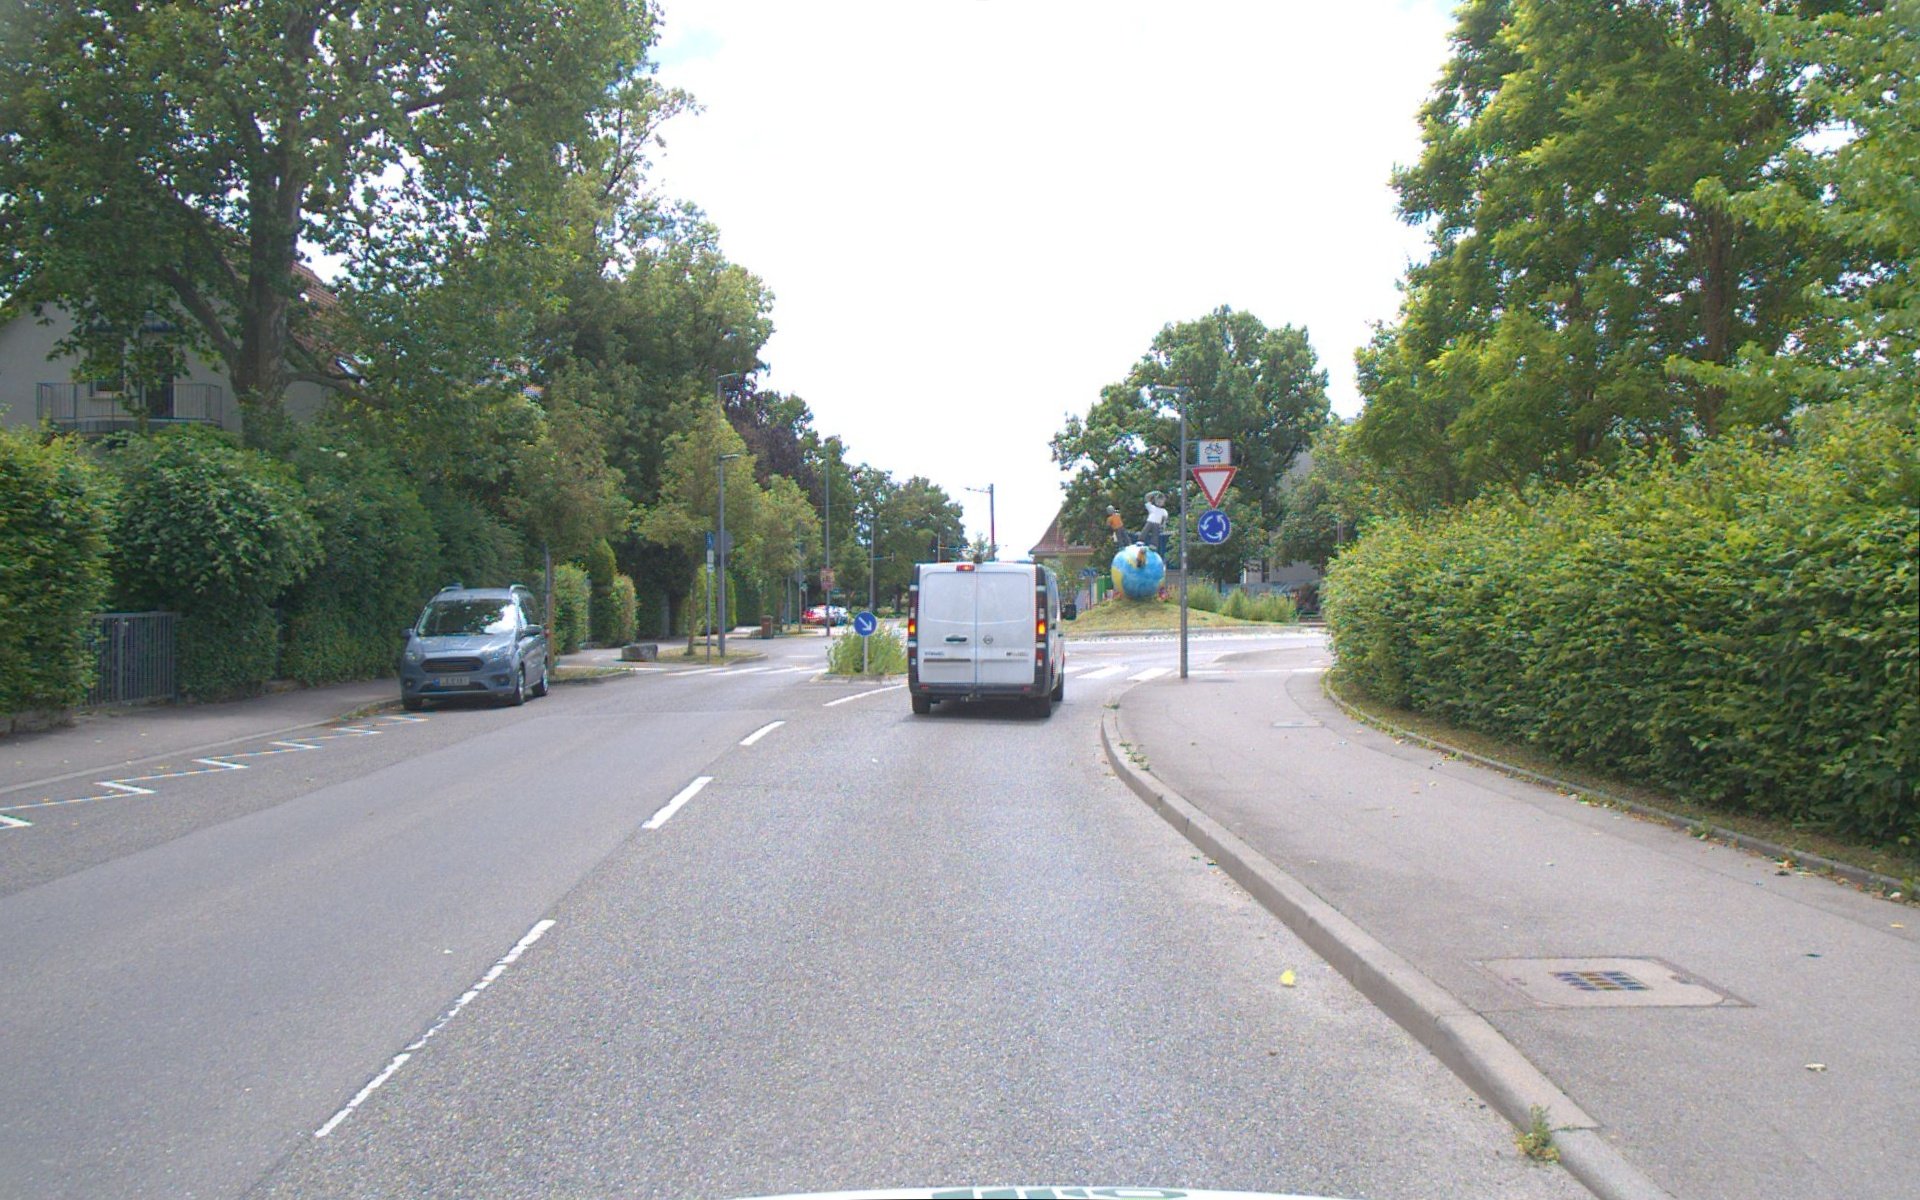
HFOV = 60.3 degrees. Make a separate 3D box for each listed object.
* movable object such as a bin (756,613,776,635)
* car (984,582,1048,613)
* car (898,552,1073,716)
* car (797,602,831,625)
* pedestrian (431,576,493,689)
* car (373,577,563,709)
[{"bbox_3d":[-7.895,0.985,67.337,0.616,0.878,0.641,-2,0,9],"label":"movable object such as a bin"},{"bbox_3d":[2.962,-0.171,88.577,1.908,1.564,3.894,-1,1,-25],"label":"car"},{"bbox_3d":[0.483,0.389,22.926,1.991,1.979,4.997,1,1,6],"label":"car"},{"bbox_3d":[-10.158,0.929,114.711,2.025,1.410,4.038,-1,1,-10],"label":"car"},{"bbox_3d":[-9.251,0.592,30.744,0.855,2.049,1.040,-2,0,-5],"label":"pedestrian"},{"bbox_3d":[-7.355,0.568,25.165,2.092,1.803,4.457,1,1,-8],"label":"car"}]
